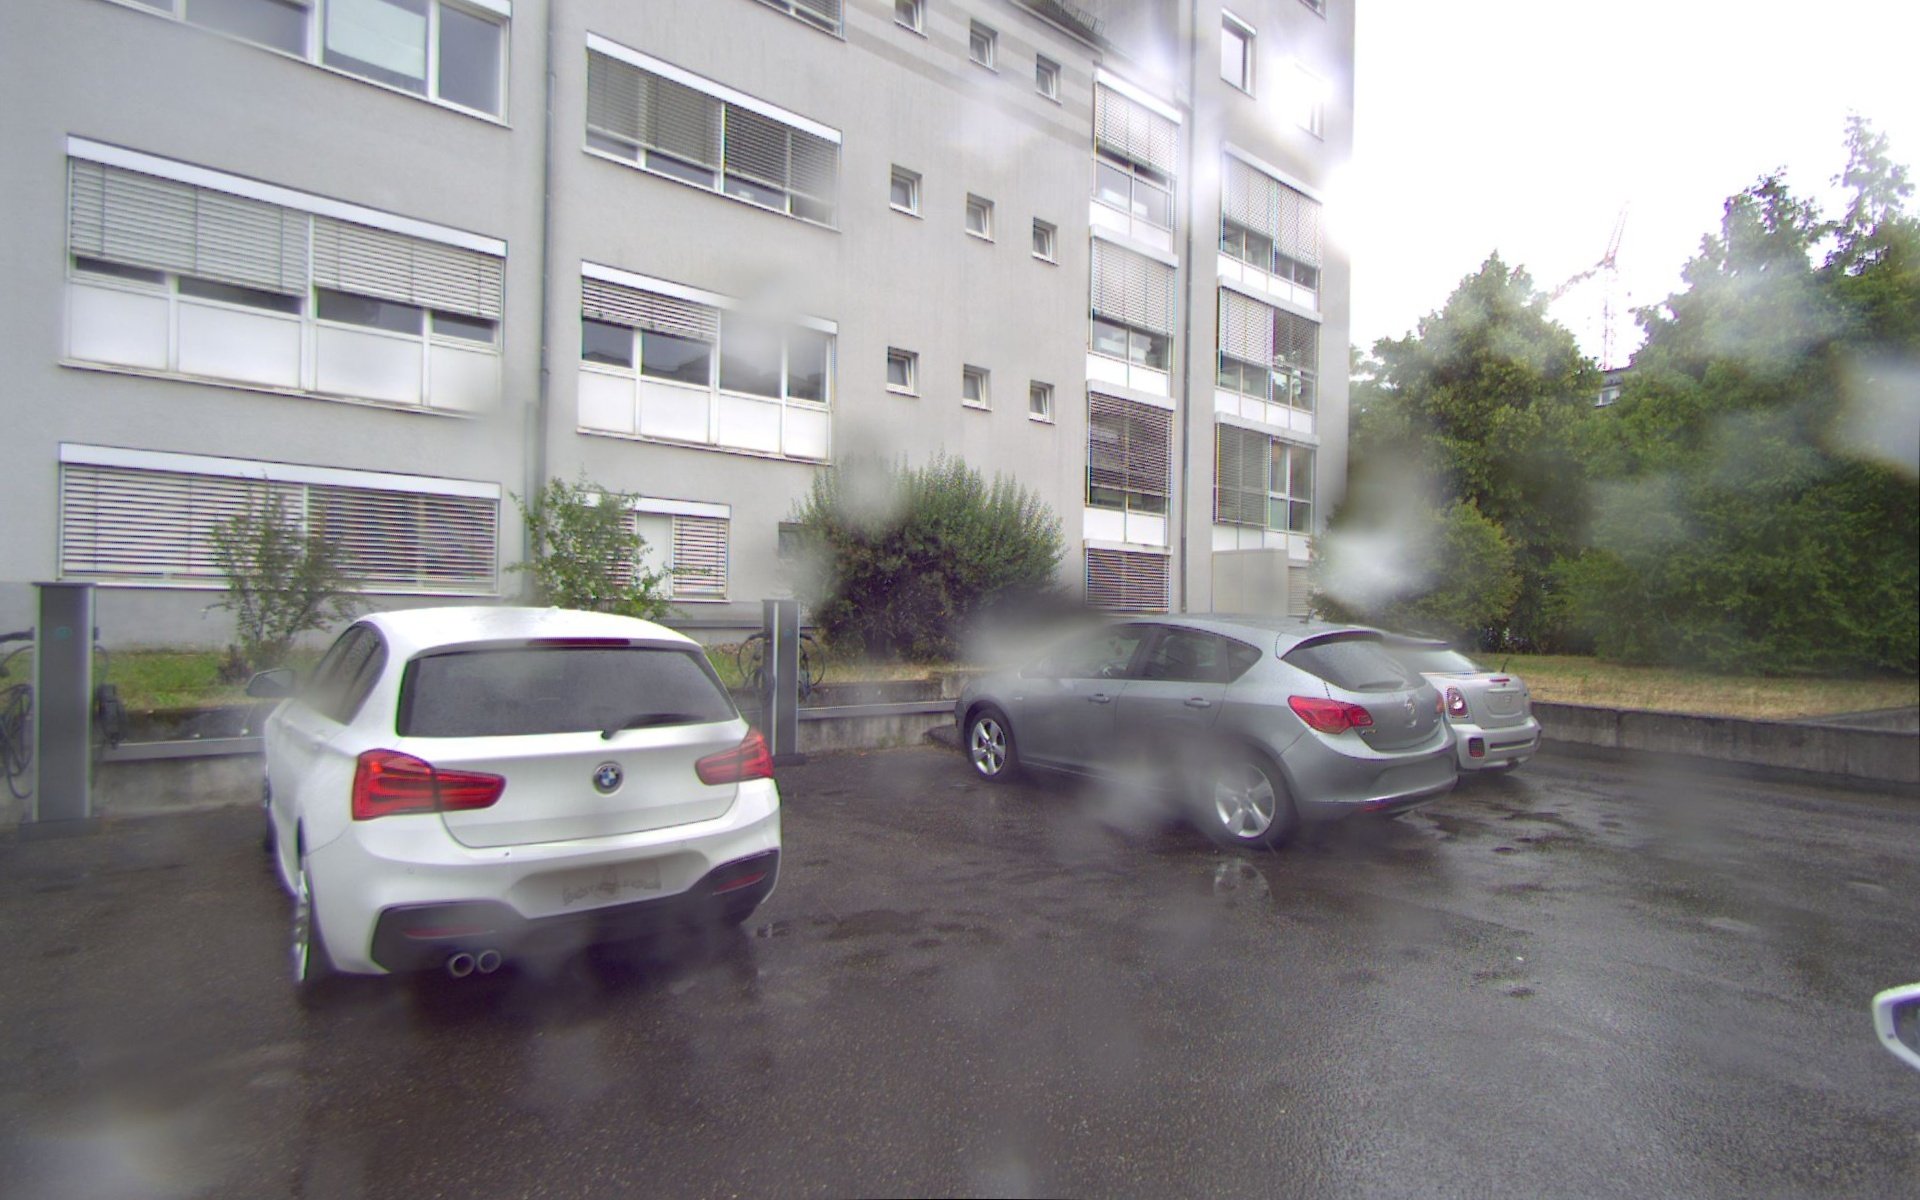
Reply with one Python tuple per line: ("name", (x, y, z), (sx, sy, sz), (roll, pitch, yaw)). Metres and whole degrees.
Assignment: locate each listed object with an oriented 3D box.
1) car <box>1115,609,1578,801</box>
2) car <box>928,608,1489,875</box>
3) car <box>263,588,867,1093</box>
("car", (3.741, 0.885, 10.407), (1.805, 1.351, 4.135), (1, 2, -36))
("car", (1.680, 0.844, 8.013), (1.806, 1.503, 4.134), (1, 0, -38))
("car", (-2.316, 0.710, 5.066), (1.738, 1.452, 4.108), (2, -1, -38))
